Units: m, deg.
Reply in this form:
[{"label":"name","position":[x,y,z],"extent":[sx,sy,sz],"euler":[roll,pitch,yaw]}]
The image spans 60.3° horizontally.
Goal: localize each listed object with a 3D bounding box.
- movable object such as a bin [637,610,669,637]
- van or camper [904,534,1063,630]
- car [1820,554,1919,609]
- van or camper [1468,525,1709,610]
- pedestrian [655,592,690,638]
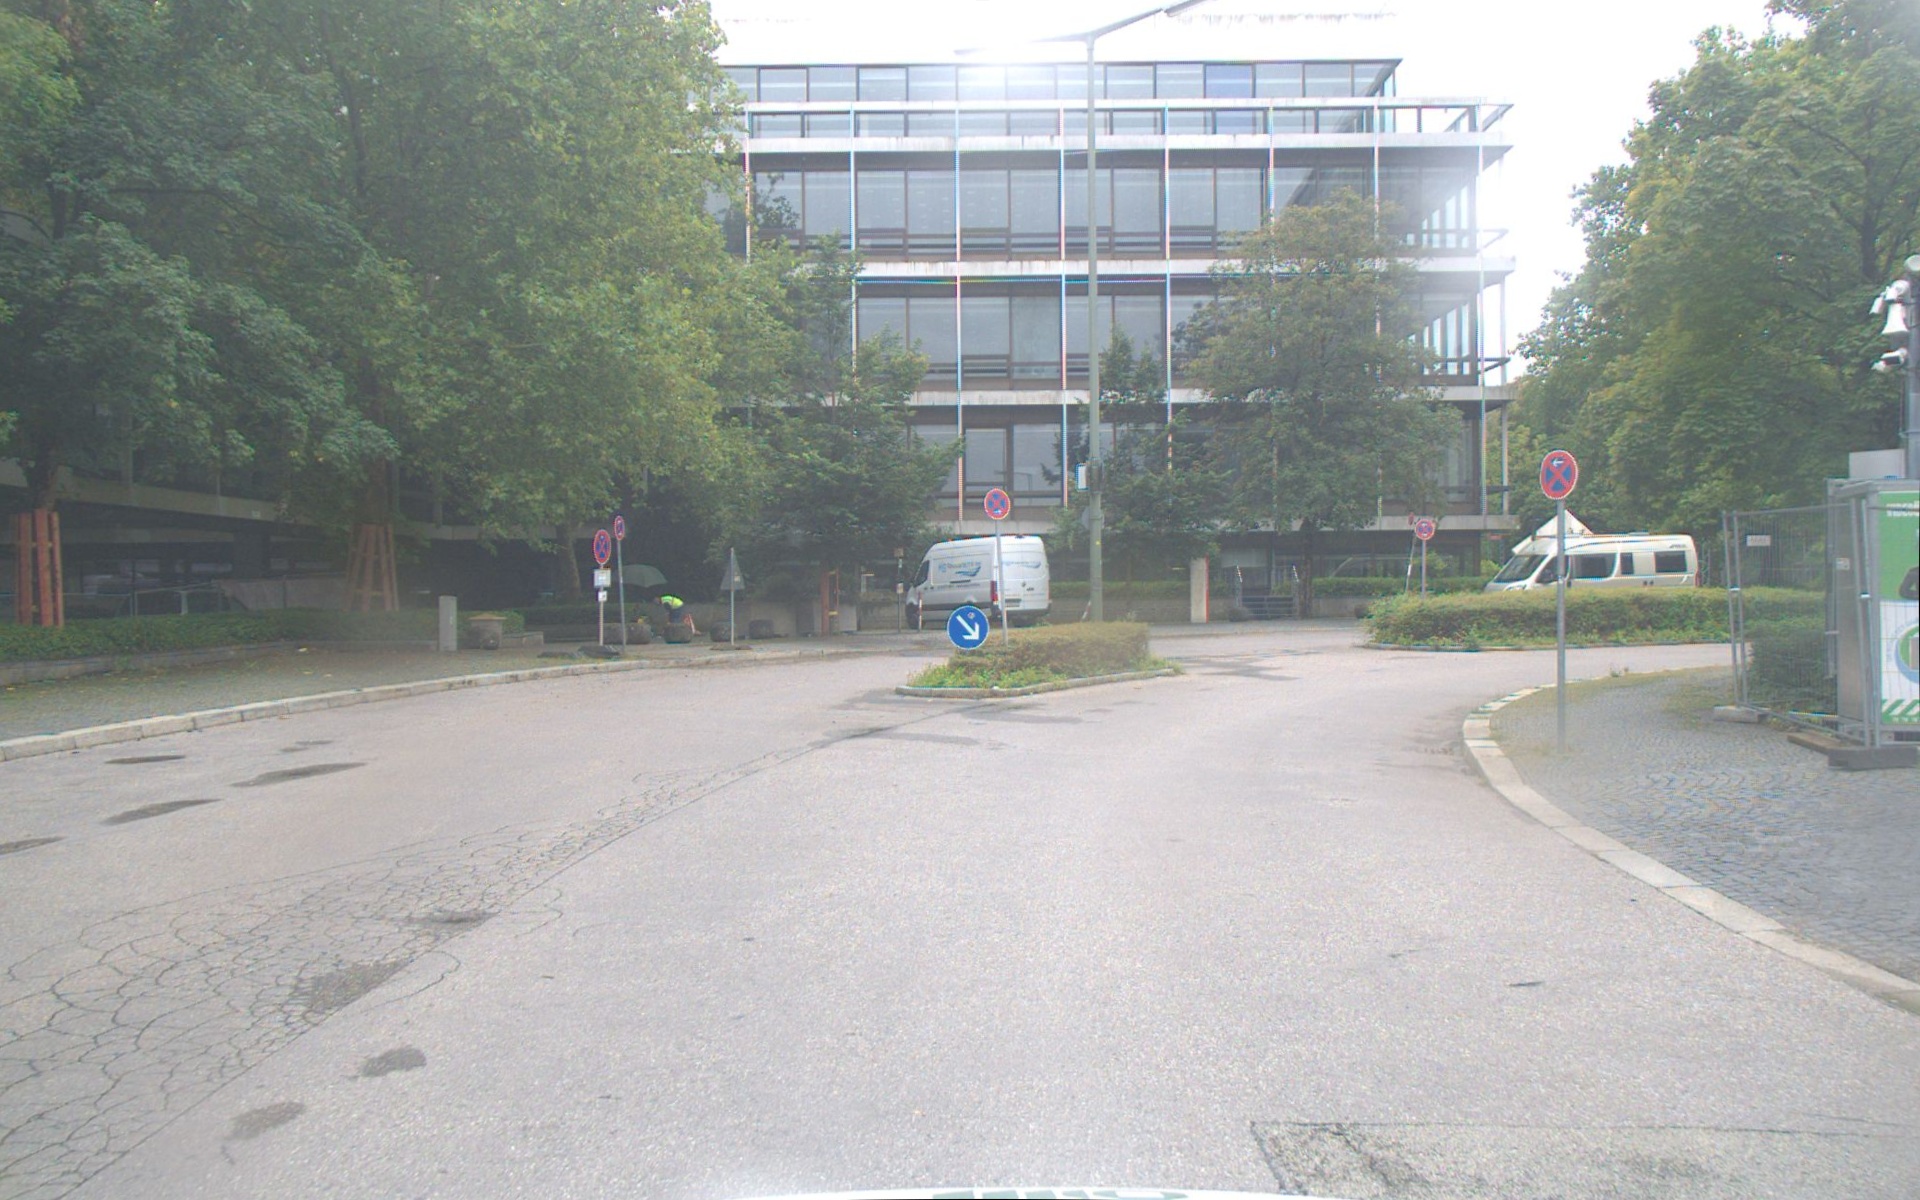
[{"label":"movable object such as a bin","position":[-8.843,0.684,47.655],"extent":[0.817,0.766,0.572],"euler":[0,0,2]},{"label":"van or camper","position":[0.594,-0.467,49.942],"extent":[2.129,2.626,6.484],"euler":[0,-1,-26]},{"label":"car","position":[27.565,-0.550,48.277],"extent":[3.905,1.534,2.000],"euler":[-1,0,1]},{"label":"van or camper","position":[17.893,-0.935,47.157],"extent":[6.290,2.321,2.246],"euler":[-1,0,-15]},{"label":"pedestrian","position":[-8.290,0.425,47.697],"extent":[0.907,1.300,0.542],"euler":[0,0,1]}]
